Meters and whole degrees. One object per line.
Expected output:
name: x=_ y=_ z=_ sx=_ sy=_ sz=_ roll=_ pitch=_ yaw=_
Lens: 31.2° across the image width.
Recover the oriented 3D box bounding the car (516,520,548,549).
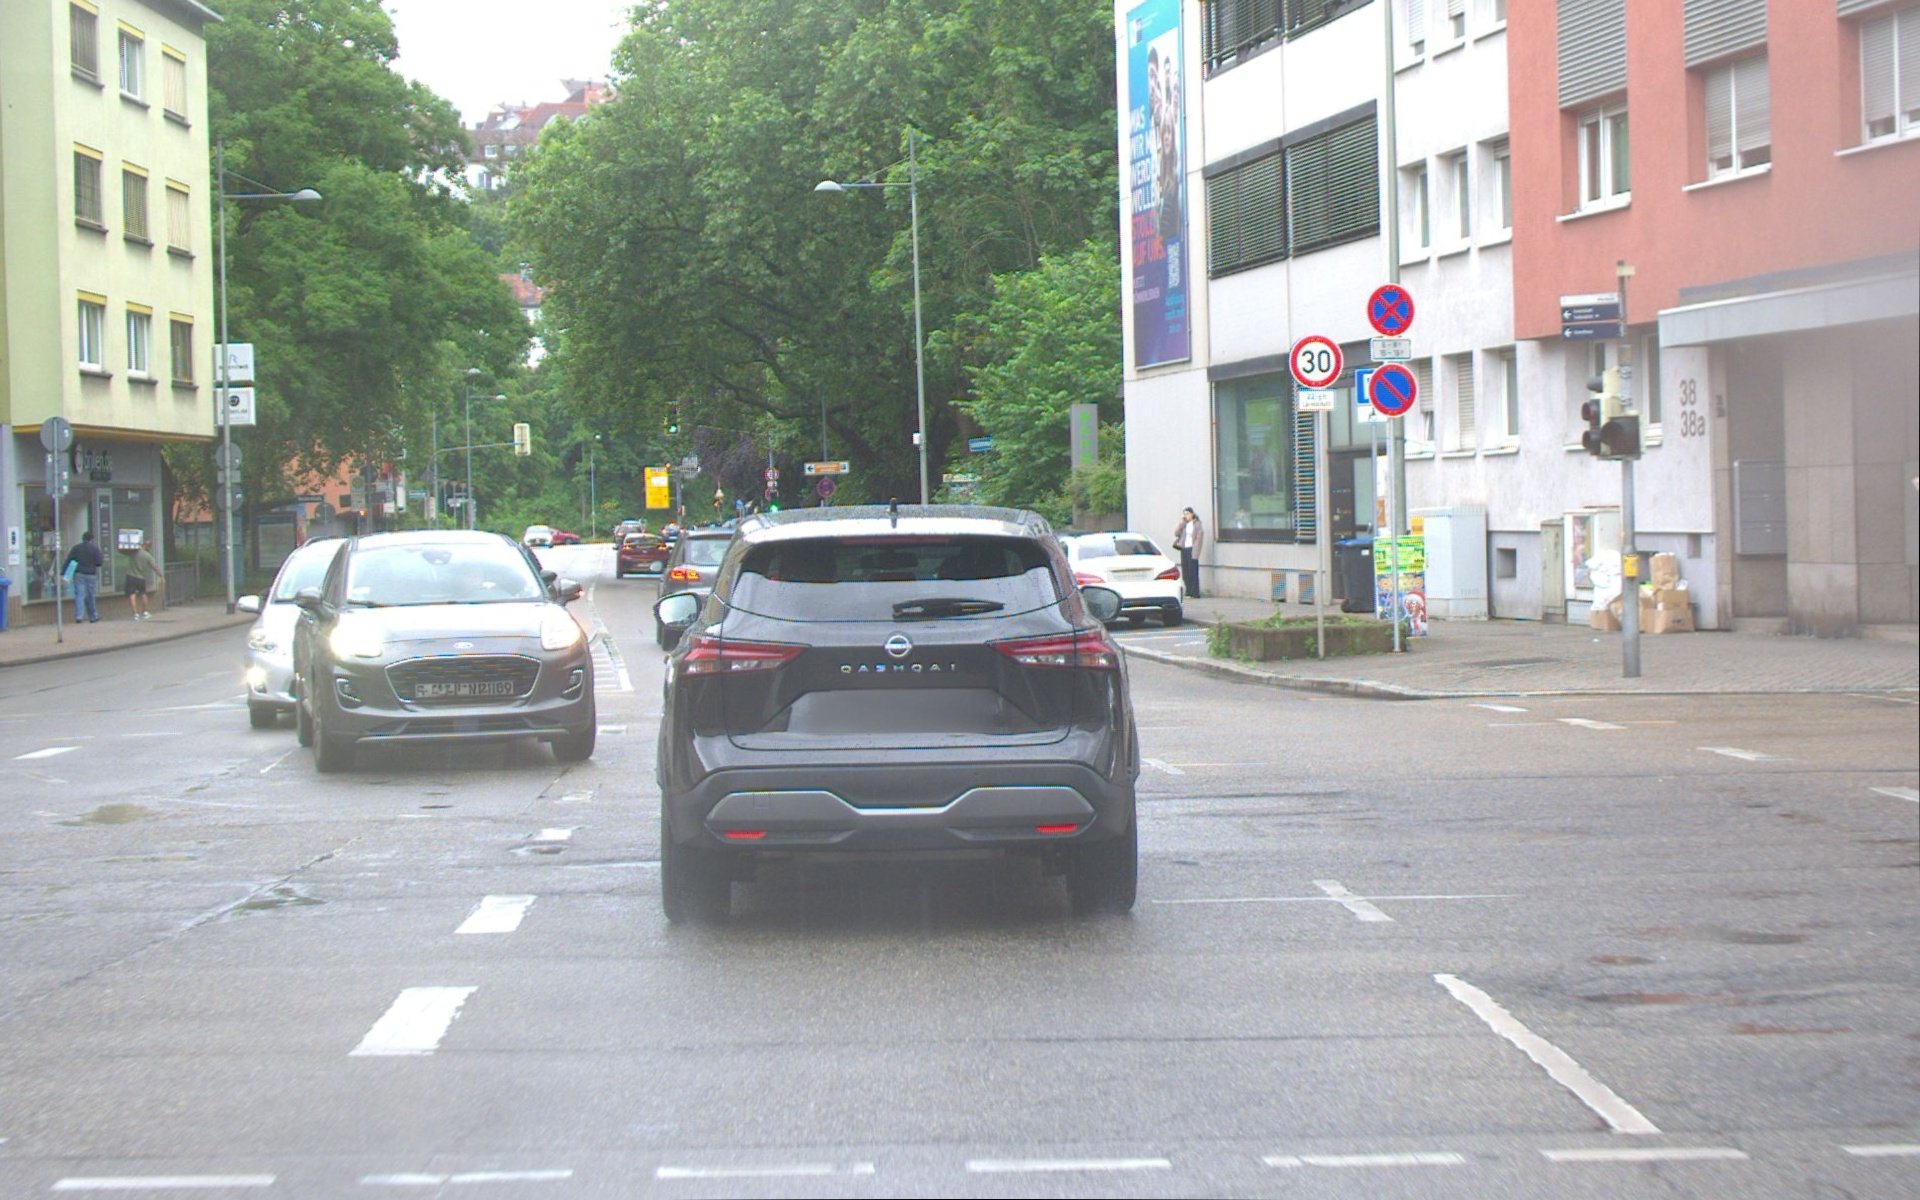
car: x=-27.111 y=-4.145 z=217.800 sx=1.820 sy=1.790 sz=3.866 roll=0 pitch=1 yaw=-5

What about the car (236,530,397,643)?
car: x=-10.023 y=-0.216 z=53.842 sx=1.820 sy=1.634 sz=4.374 roll=-2 pitch=0 yaw=-2

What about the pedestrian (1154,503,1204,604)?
pedestrian: x=3.847 y=-0.816 z=60.418 sx=0.612 sy=1.731 sz=0.681 roll=-3 pitch=1 yaw=-13

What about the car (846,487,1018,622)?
car: x=-0.458 y=-0.666 z=50.848 sx=1.945 sy=1.810 sz=4.001 roll=-3 pitch=1 yaw=-8

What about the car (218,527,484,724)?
car: x=-5.185 y=0.194 z=29.751 sx=1.934 sy=1.521 sz=4.136 roll=-2 pitch=0 yaw=-6

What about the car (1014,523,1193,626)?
car: x=2.114 y=-0.411 z=51.899 sx=1.774 sy=1.396 sz=4.581 roll=-3 pitch=2 yaw=-9

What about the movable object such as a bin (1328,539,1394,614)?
movable object such as a bin: x=5.833 y=-0.352 z=50.080 sx=0.712 sy=1.064 sz=0.784 roll=-2 pitch=1 yaw=-13

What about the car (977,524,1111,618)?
car: x=1.389 y=-0.525 z=58.309 sx=1.714 sy=1.437 sz=4.083 roll=-3 pitch=2 yaw=-5

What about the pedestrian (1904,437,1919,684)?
pedestrian: x=8.755 y=-0.341 z=29.935 sx=0.825 sy=2.151 sz=0.770 roll=0 pitch=1 yaw=0

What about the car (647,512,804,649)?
car: x=-3.233 y=-0.273 z=46.793 sx=1.945 sy=1.679 sz=4.001 roll=-3 pitch=1 yaw=-5

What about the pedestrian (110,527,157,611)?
pedestrian: x=-16.798 y=-0.641 z=69.898 sx=0.798 sy=1.682 sz=0.817 roll=-1 pitch=1 yaw=-7

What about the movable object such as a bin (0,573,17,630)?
movable object such as a bin: x=-17.318 y=0.031 z=62.049 sx=0.399 sy=1.003 sz=0.545 roll=-1 pitch=1 yaw=1

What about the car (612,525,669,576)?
car: x=-10.515 y=-1.649 z=112.996 sx=1.820 sy=1.606 sz=3.866 roll=0 pitch=1 yaw=-6

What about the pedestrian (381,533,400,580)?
pedestrian: x=-21.987 y=-1.670 z=132.679 sx=0.666 sy=1.785 sz=0.722 roll=0 pitch=1 yaw=-13

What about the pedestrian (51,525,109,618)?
pedestrian: x=-17.119 y=-0.552 z=66.895 sx=0.865 sy=1.782 sz=0.875 roll=1 pitch=1 yaw=0

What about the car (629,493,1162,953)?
car: x=-0.367 y=0.400 z=14.336 sx=1.894 sy=1.623 sz=4.001 roll=-1 pitch=1 yaw=-4

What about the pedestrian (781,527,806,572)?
pedestrian: x=-6.650 y=-2.019 z=137.246 sx=0.721 sy=1.785 sz=0.667 roll=2 pitch=2 yaw=42

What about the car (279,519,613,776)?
car: x=-3.612 y=0.271 z=23.566 sx=1.855 sy=1.547 sz=4.228 roll=-2 pitch=1 yaw=-13
